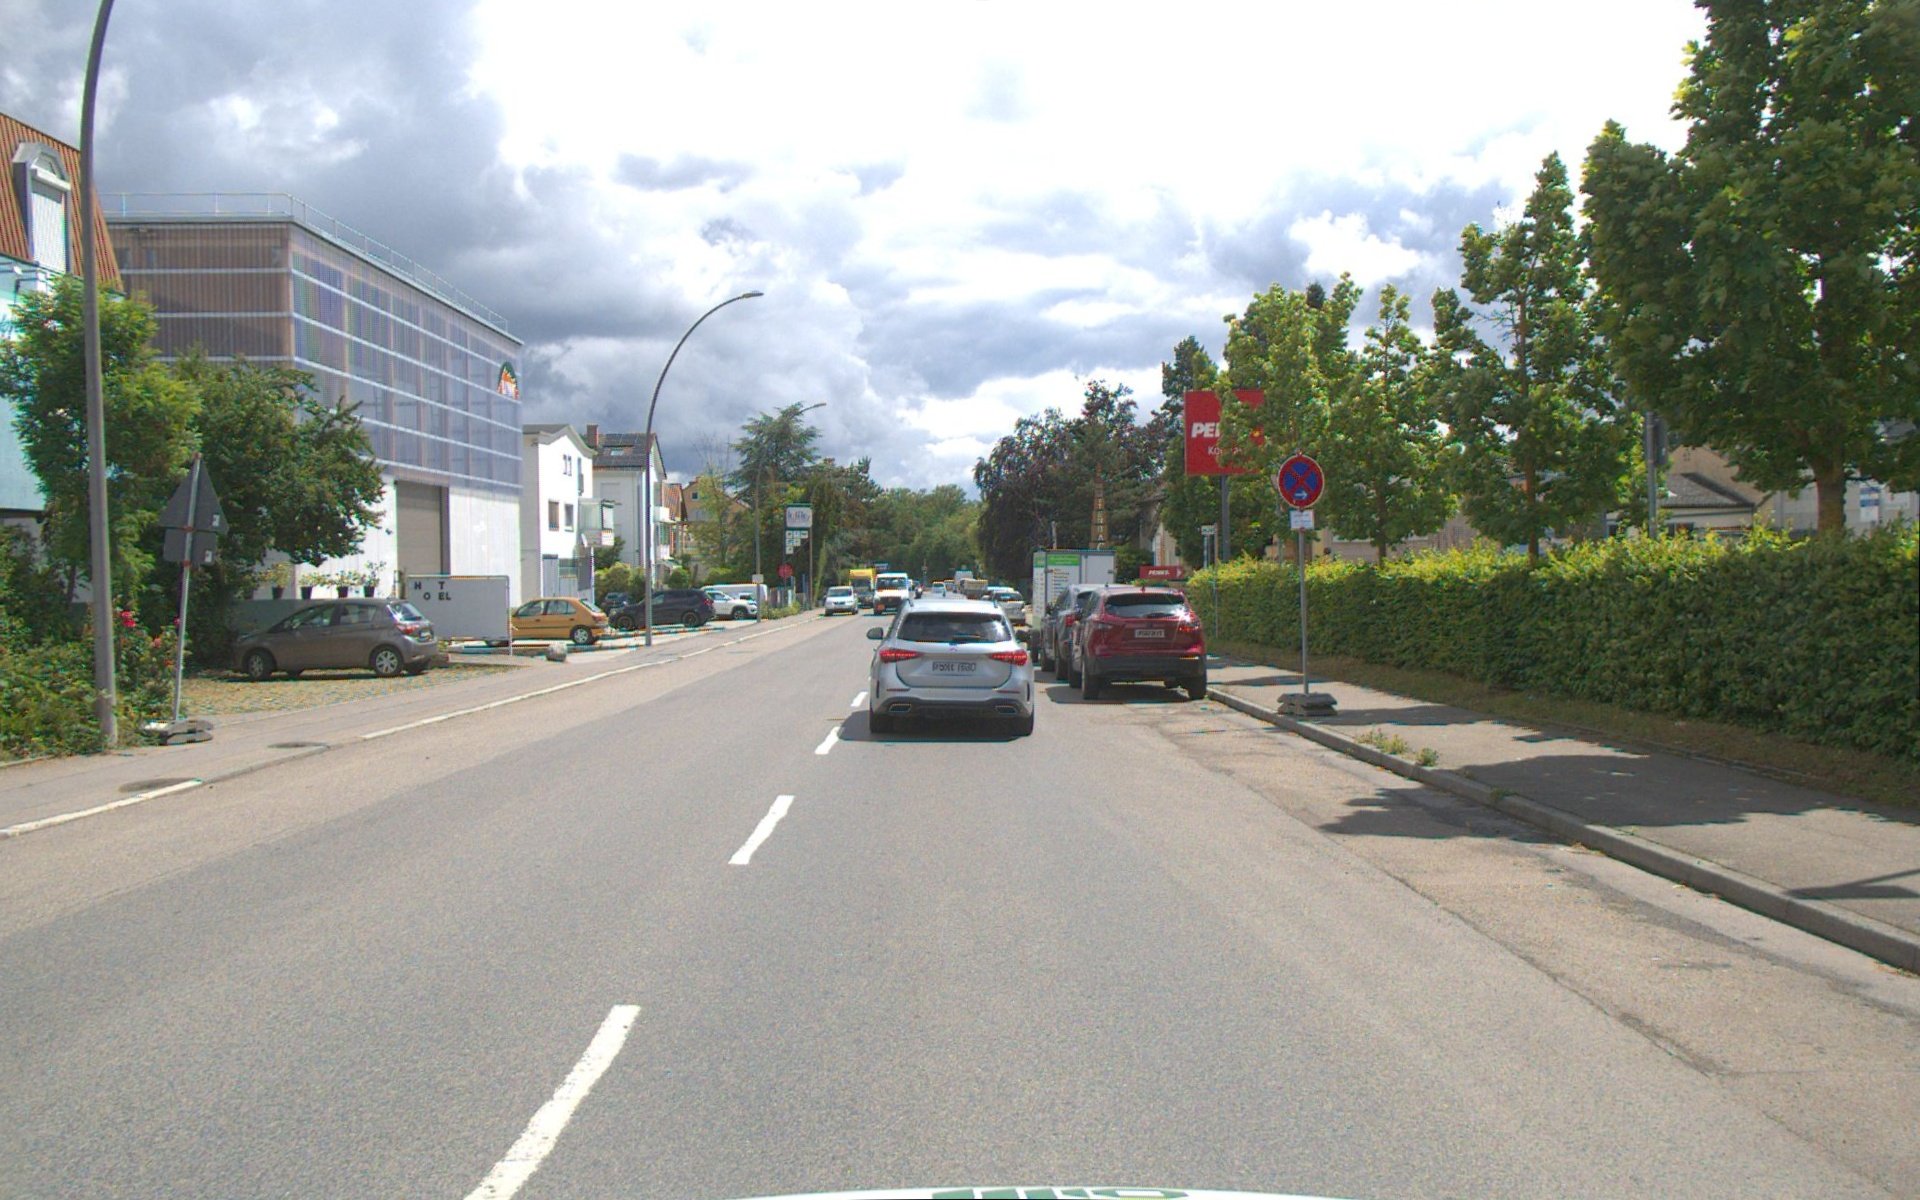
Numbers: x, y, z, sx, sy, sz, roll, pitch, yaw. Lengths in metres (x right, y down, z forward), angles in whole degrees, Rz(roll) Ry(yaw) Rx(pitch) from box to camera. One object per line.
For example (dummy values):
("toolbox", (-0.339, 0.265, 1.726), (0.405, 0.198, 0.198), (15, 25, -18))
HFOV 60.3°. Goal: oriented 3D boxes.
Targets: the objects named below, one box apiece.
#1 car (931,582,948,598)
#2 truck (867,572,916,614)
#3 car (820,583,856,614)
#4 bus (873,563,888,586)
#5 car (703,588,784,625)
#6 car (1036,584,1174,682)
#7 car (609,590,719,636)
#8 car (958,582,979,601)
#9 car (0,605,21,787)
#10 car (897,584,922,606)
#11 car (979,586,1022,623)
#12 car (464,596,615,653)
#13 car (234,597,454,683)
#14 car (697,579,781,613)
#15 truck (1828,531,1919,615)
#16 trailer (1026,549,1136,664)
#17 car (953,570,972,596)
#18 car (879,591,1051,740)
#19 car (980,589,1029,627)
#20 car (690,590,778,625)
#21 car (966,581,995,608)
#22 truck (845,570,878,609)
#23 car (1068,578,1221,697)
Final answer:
("car", (-2.098, -1.020, 170.200), (1.720, 1.585, 3.999), (0, 1, -2))
("truck", (-3.783, -0.424, 92.464), (2.271, 2.216, 6.450), (-2, 1, 1))
("car", (-7.005, -0.114, 95.455), (1.755, 1.631, 4.363), (-2, 1, -1))
("bus", (-12.280, -3.952, 255.272), (1.955, 3.423, 6.974), (1, 1, -6))
("car", (-11.782, 0.352, 90.185), (4.193, 1.868, 1.990), (-1, -3, -2))
("car", (2.571, 0.535, 30.287), (1.903, 1.598, 4.443), (-1, 1, -3))
("car", (-13.194, 0.569, 73.983), (4.536, 1.661, 2.196), (-4, 1, -4))
("car", (0.784, -0.827, 156.127), (1.749, 1.745, 4.314), (0, 0, -3))
("car", (-10.058, 0.820, 12.977), (4.285, 1.504, 1.871), (-1, -1, -1))
("car", (-4.266, -0.449, 140.415), (1.952, 1.763, 4.549), (-2, 1, 0))
("car", (1.873, 0.198, 77.845), (1.755, 1.579, 4.572), (-2, 1, -2))
("car", (-12.457, 0.720, 49.176), (4.068, 1.517, 1.824), (1, 1, -5))
("car", (-12.054, 0.762, 32.537), (3.553, 1.559, 1.980), (-1, 1, 1))
("car", (-11.722, -0.205, 87.942), (4.193, 1.594, 1.990), (-1, -2, -2))
("truck", (38.215, -0.854, 60.139), (11.735, 2.914, 2.979), (2, 1, 0))
("trailer", (2.595, 0.114, 36.482), (1.902, 2.334, 4.444), (-1, 1, -2))
("car", (0.266, -1.716, 168.481), (1.749, 2.562, 4.314), (0, 0, -3))
("car", (-0.047, 0.665, 19.037), (1.749, 1.510, 4.314), (0, 0, -3))
("car", (1.916, 0.328, 72.213), (1.756, 1.475, 4.361), (-2, 1, -3))
("car", (-11.578, 0.396, 84.960), (4.192, 1.594, 1.991), (-1, -2, -1))
("car", (1.598, -0.430, 131.051), (2.100, 2.018, 5.261), (-1, 1, 0))
("truck", (-7.663, -0.837, 129.050), (2.032, 2.863, 7.078), (-2, 1, 0))
("car", (2.716, 0.500, 25.275), (1.901, 1.598, 4.446), (-1, 1, 1))
